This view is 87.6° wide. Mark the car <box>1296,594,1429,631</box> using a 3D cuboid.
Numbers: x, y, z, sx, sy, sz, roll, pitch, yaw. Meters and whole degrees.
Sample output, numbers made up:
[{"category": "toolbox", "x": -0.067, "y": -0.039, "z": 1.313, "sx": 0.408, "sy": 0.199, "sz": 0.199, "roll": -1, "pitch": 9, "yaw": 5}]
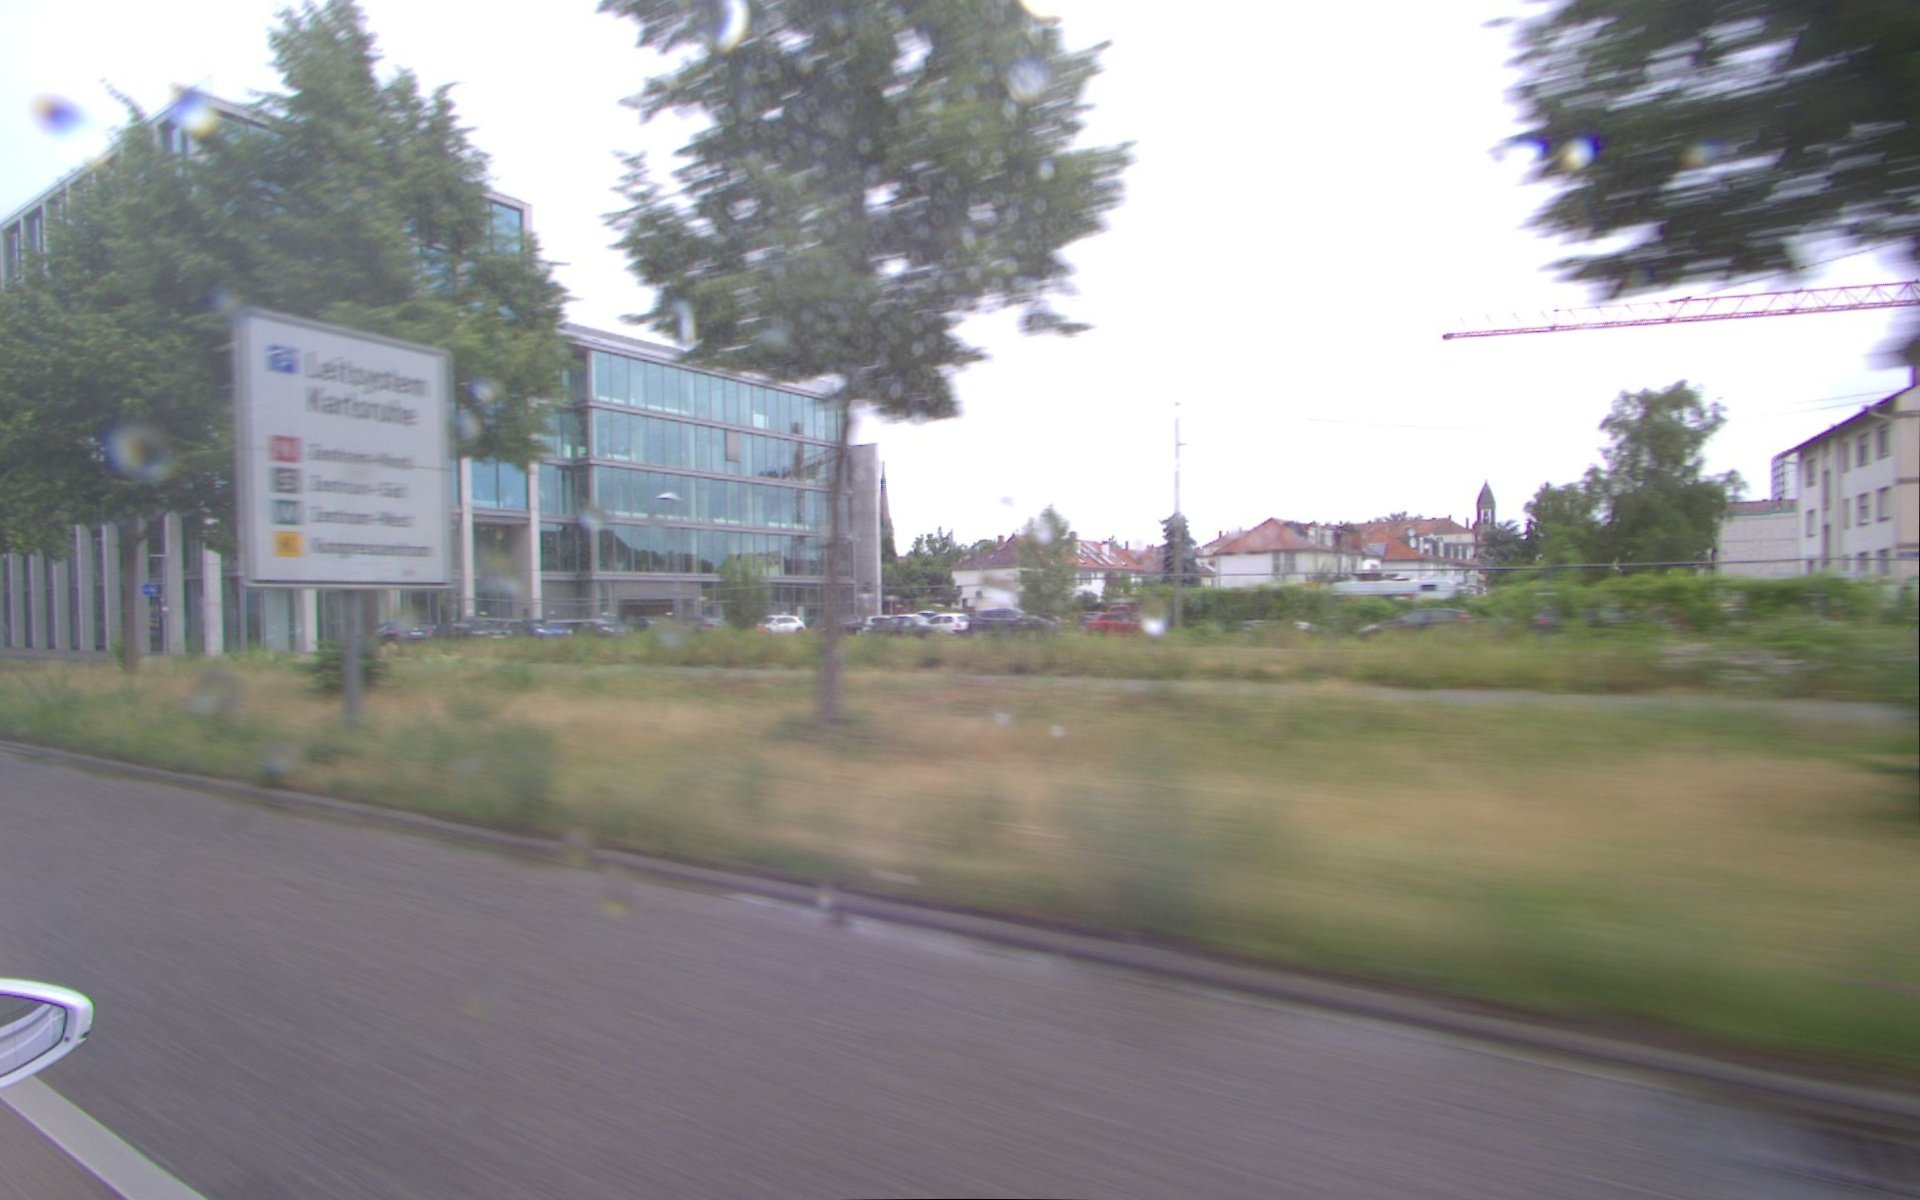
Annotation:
[{"category": "car", "x": 19.019, "y": 0.612, "z": 47.598, "sx": 5.560, "sy": 1.665, "sz": 2.482, "roll": 0, "pitch": 0, "yaw": 15}]

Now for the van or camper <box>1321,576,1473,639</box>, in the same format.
[{"category": "van or camper", "x": 22.121, "y": 0.401, "z": 50.786, "sx": 6.681, "sy": 3.033, "sz": 2.900, "roll": -1, "pitch": 0, "yaw": 33}]

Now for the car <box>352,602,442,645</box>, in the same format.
[{"category": "car", "x": -22.379, "y": 0.916, "z": 39.749, "sx": 3.953, "sy": 1.601, "sz": 1.847, "roll": -1, "pitch": 0, "yaw": 40}]

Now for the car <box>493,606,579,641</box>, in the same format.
[{"category": "car", "x": -18.753, "y": 1.004, "z": 44.257, "sx": 3.950, "sy": 1.474, "sz": 1.848, "roll": -1, "pitch": 0, "yaw": 38}]

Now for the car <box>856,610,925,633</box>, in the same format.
[{"category": "car", "x": -4.276, "y": 1.307, "z": 61.481, "sx": 3.974, "sy": 1.370, "sz": 1.693, "roll": -1, "pitch": 0, "yaw": 32}]

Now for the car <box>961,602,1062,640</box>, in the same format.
[{"category": "car", "x": 2.257, "y": 0.927, "z": 44.473, "sx": 4.180, "sy": 1.622, "sz": 1.848, "roll": -1, "pitch": 0, "yaw": 38}]

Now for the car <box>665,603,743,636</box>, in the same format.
[{"category": "car", "x": -12.988, "y": 0.984, "z": 50.746, "sx": 3.950, "sy": 1.622, "sz": 1.848, "roll": -1, "pitch": 0, "yaw": 38}]

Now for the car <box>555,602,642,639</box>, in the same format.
[{"category": "car", "x": -16.971, "y": 0.948, "z": 46.935, "sx": 4.360, "sy": 1.622, "sz": 1.848, "roll": -1, "pitch": 0, "yaw": 38}]

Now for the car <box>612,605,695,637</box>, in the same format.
[{"category": "car", "x": -14.902, "y": 1.017, "z": 48.637, "sx": 4.177, "sy": 1.494, "sz": 1.779, "roll": -1, "pitch": 0, "yaw": 38}]

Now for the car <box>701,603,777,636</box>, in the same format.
[{"category": "car", "x": -11.615, "y": 1.015, "z": 52.561, "sx": 3.950, "sy": 1.622, "sz": 1.848, "roll": -1, "pitch": 0, "yaw": 38}]

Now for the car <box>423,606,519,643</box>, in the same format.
[{"category": "car", "x": -20.451, "y": 0.988, "z": 41.795, "sx": 4.500, "sy": 1.474, "sz": 1.848, "roll": -1, "pitch": 0, "yaw": 38}]

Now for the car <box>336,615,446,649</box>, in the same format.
[{"category": "car", "x": -27.347, "y": 1.506, "z": 48.230, "sx": 1.955, "sy": 1.457, "sz": 4.203, "roll": 2, "pitch": 1, "yaw": 37}]

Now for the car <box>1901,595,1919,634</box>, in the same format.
[{"category": "car", "x": 38.422, "y": 0.527, "z": 37.796, "sx": 3.976, "sy": 1.451, "sz": 1.692, "roll": -1, "pitch": 0, "yaw": 34}]

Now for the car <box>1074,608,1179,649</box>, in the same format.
[{"category": "car", "x": 6.910, "y": 1.171, "z": 41.790, "sx": 3.950, "sy": 1.622, "sz": 1.848, "roll": -1, "pitch": 0, "yaw": 38}]

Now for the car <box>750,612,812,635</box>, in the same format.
[{"category": "car", "x": -12.164, "y": 1.566, "z": 68.075, "sx": 1.837, "sy": 1.457, "sz": 3.972, "roll": 1, "pitch": 0, "yaw": 37}]

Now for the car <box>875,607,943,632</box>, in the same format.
[{"category": "car", "x": -3.220, "y": 1.220, "z": 63.421, "sx": 3.972, "sy": 1.516, "sz": 1.852, "roll": -1, "pitch": 0, "yaw": 30}]

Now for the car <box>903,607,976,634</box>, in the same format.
[{"category": "car", "x": -1.198, "y": 1.170, "z": 57.731, "sx": 3.976, "sy": 1.465, "sz": 1.692, "roll": -1, "pitch": 0, "yaw": 34}]
